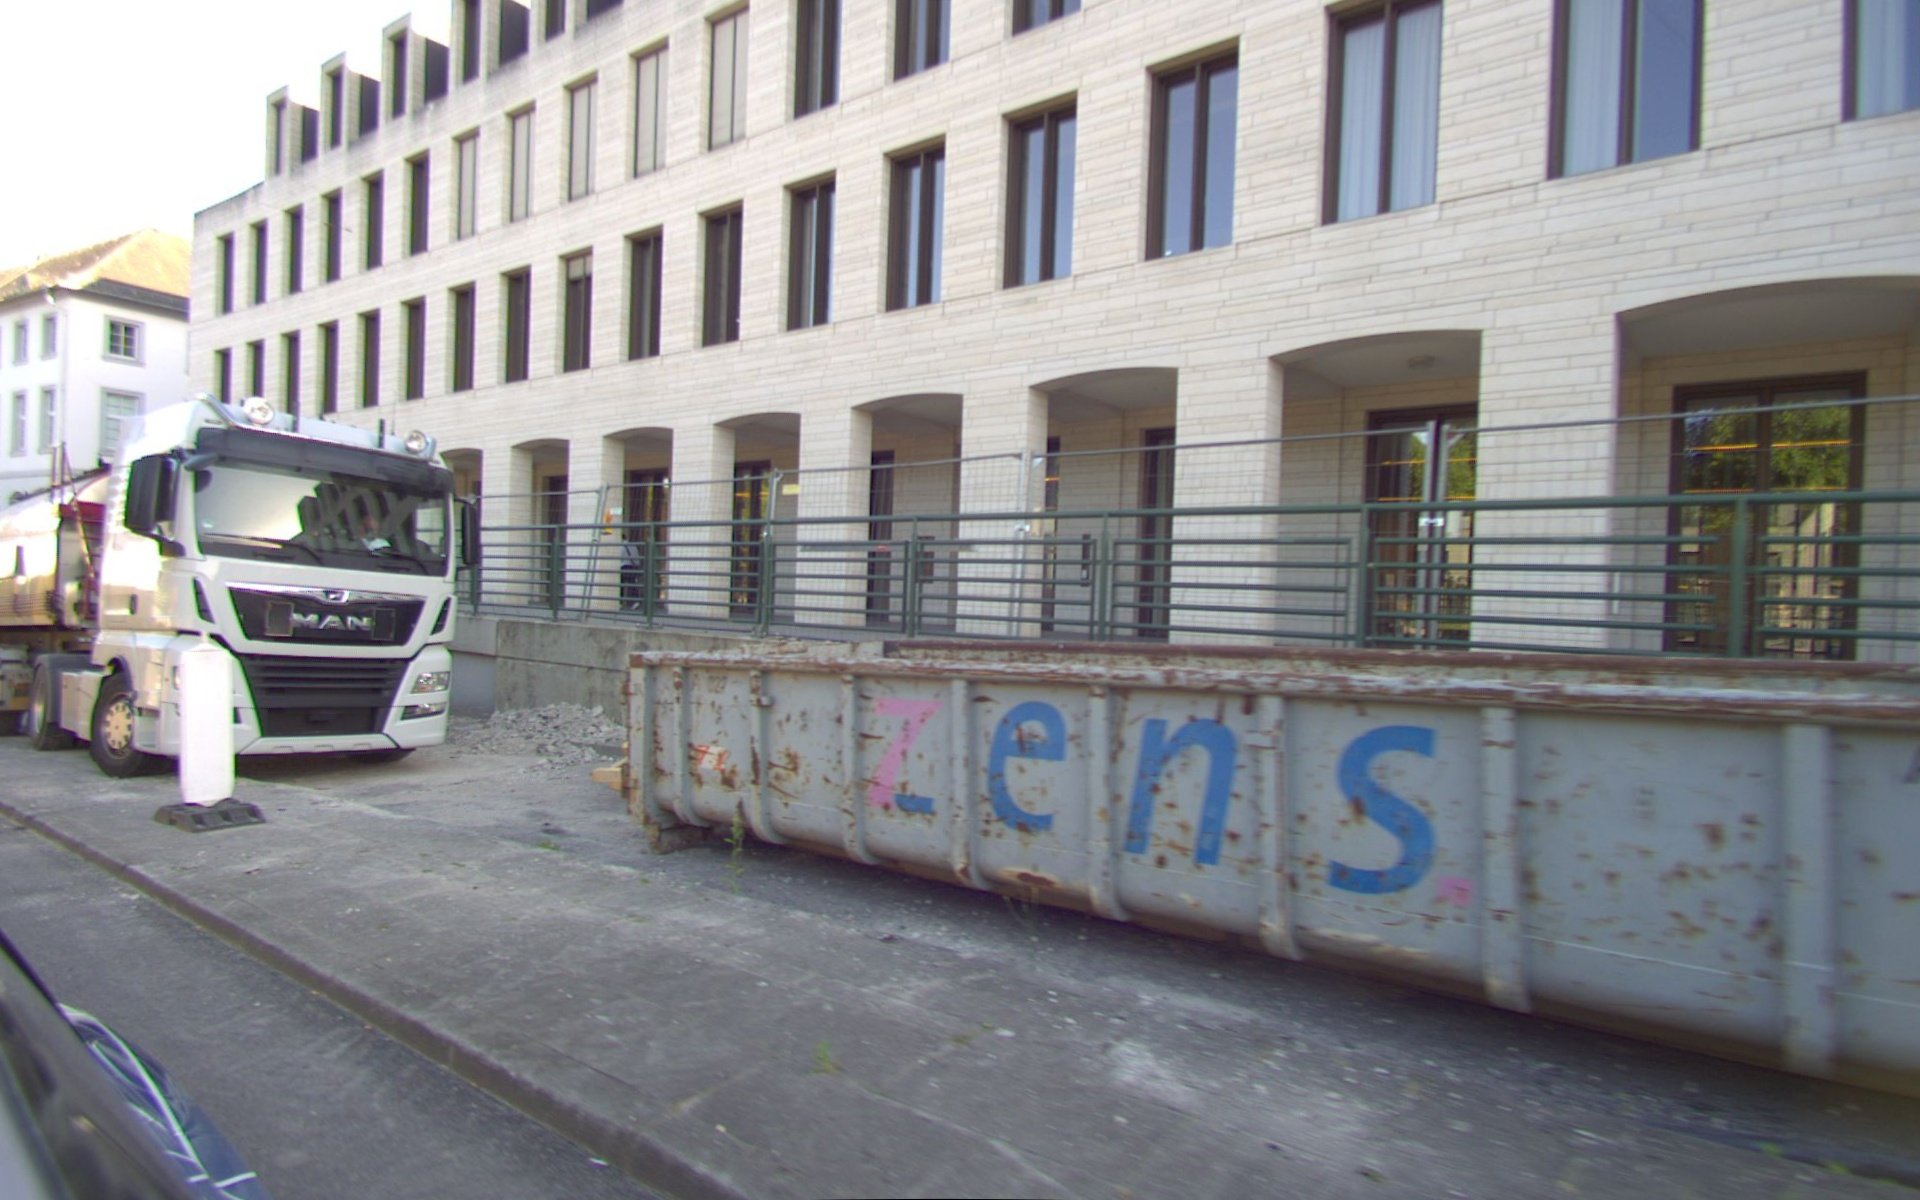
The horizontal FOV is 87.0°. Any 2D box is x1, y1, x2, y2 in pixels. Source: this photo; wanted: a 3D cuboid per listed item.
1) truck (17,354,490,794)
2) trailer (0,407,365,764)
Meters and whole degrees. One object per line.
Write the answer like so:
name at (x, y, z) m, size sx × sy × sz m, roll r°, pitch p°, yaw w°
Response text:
truck at (-7.788, -0.061, 10.906) m, size 5.810 × 3.516 × 2.553 m, roll -2°, pitch -6°, yaw 40°
trailer at (-11.772, 0.028, 14.089) m, size 8.731 × 3.697 × 2.618 m, roll -2°, pitch -6°, yaw 36°
